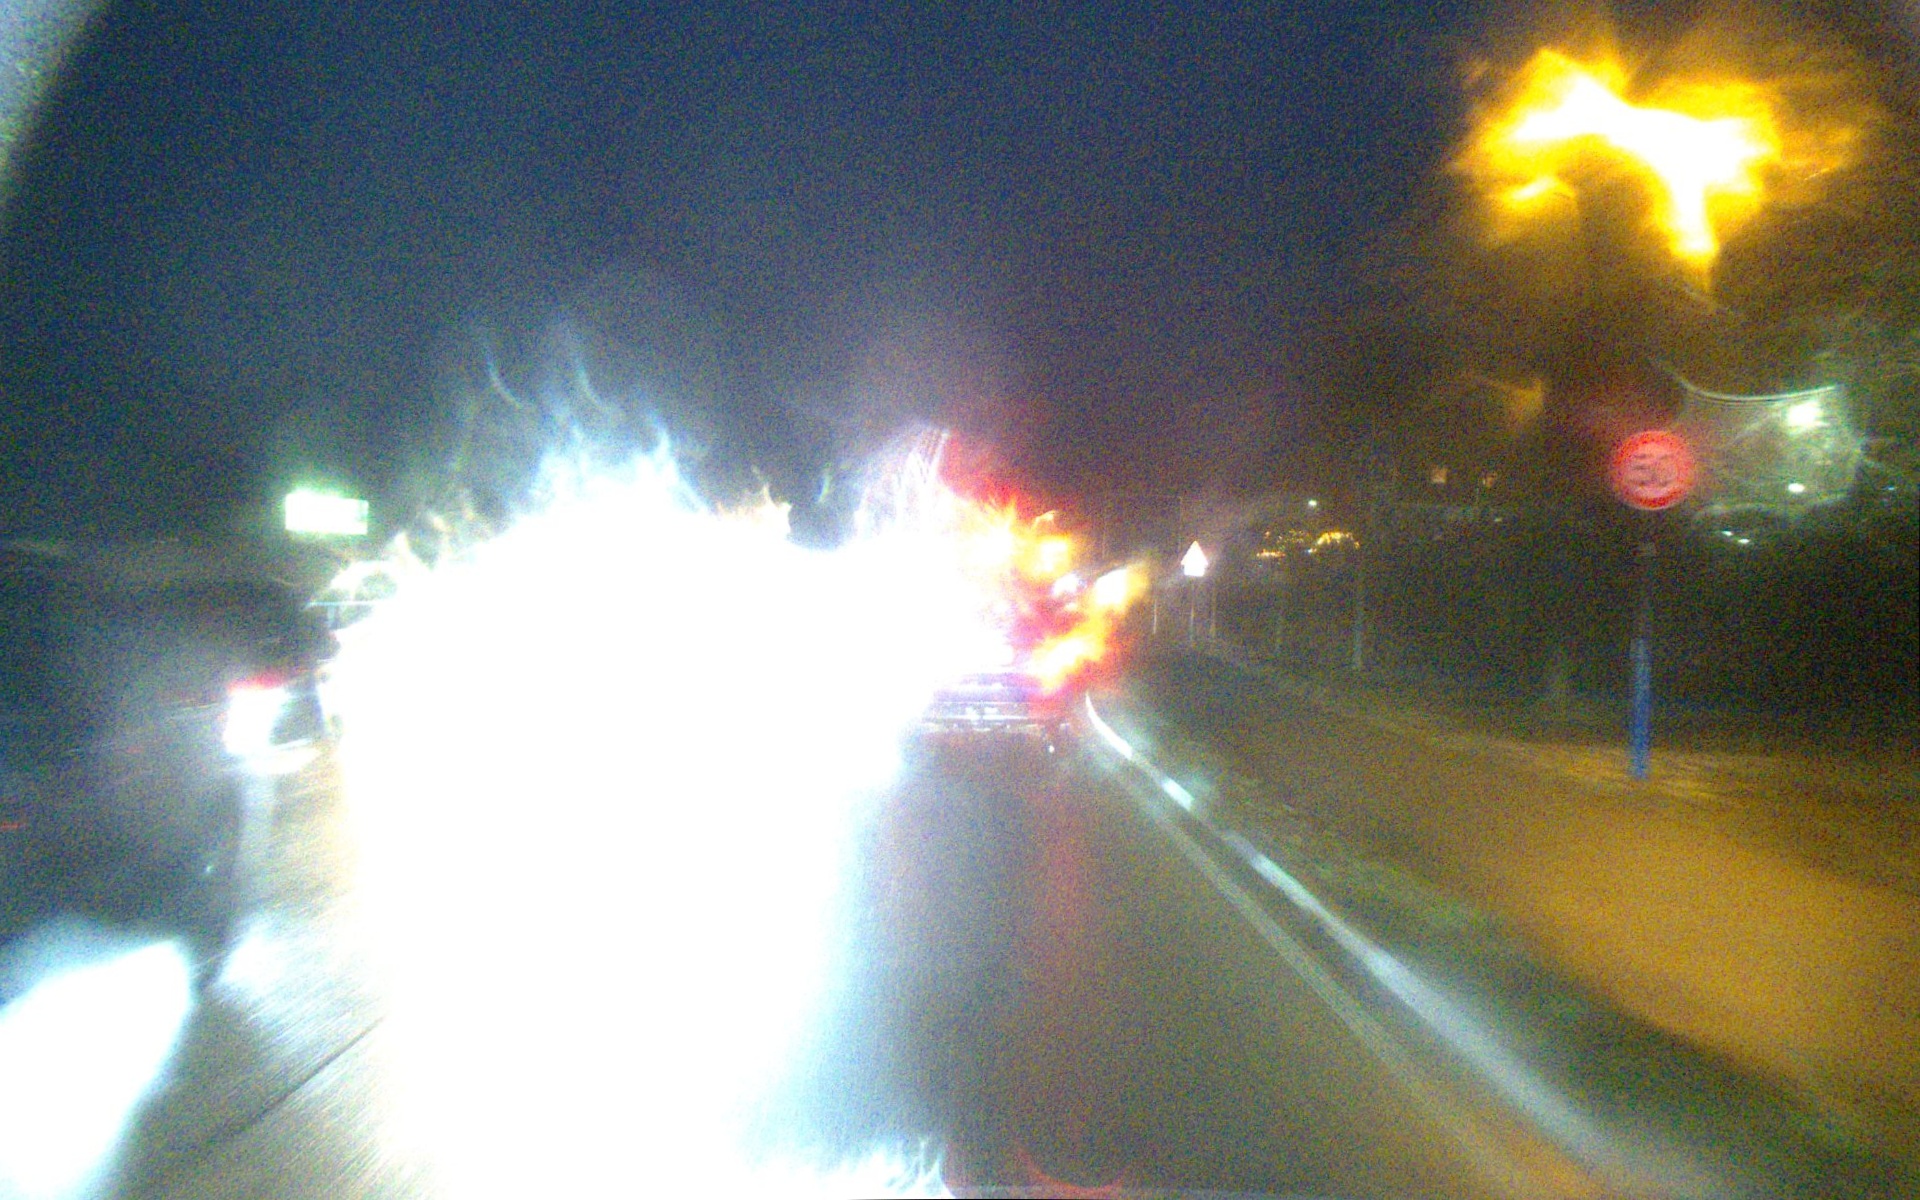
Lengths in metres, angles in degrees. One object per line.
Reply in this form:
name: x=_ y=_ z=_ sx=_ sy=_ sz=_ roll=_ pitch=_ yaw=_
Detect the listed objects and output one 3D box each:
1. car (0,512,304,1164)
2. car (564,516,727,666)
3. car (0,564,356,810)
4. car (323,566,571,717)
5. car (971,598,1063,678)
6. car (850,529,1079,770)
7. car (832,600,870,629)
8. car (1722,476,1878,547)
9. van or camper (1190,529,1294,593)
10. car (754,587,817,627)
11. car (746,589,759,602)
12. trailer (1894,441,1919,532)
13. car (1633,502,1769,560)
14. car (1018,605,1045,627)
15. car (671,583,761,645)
car: x=-3.349 y=0.586 z=4.490 sx=1.770 sy=1.658 sz=4.410 roll=1 pitch=0 yaw=-6
car: x=-6.300 y=-0.178 z=33.945 sx=2.079 sy=2.755 sz=6.240 roll=1 pitch=0 yaw=0
car: x=-6.068 y=0.532 z=12.358 sx=1.685 sy=1.534 sz=3.827 roll=1 pitch=0 yaw=0
car: x=-6.128 y=0.443 z=20.274 sx=1.685 sy=1.616 sz=4.311 roll=1 pitch=0 yaw=0
car: x=1.209 y=0.719 z=33.751 sx=1.731 sy=1.475 sz=4.220 roll=1 pitch=0 yaw=3
car: x=0.036 y=0.407 z=16.135 sx=1.902 sy=2.006 sz=4.218 roll=1 pitch=0 yaw=0
car: x=-5.942 y=0.781 z=90.661 sx=1.879 sy=1.469 sz=4.544 roll=1 pitch=0 yaw=-1
car: x=22.641 y=-2.342 z=44.738 sx=1.585 sy=1.668 sz=3.986 roll=1 pitch=0 yaw=-13
van or camper: x=13.715 y=-1.857 z=80.851 sx=2.538 sy=2.959 sz=6.331 roll=0 pitch=0 yaw=-16
car: x=-6.832 y=0.248 z=65.221 sx=2.035 sy=1.474 sz=4.991 roll=1 pitch=0 yaw=-1
car: x=-31.344 y=-0.691 z=249.553 sx=1.956 sy=1.945 sz=4.735 roll=1 pitch=0 yaw=-7
trailer: x=24.296 y=-2.719 z=37.611 sx=2.186 sy=2.108 sz=5.705 roll=0 pitch=0 yaw=-11
car: x=21.824 y=-2.003 z=48.882 sx=1.585 sy=1.498 sz=3.986 roll=1 pitch=0 yaw=-13
car: x=4.974 y=1.121 z=115.096 sx=1.628 sy=1.475 sz=4.052 roll=1 pitch=-1 yaw=5
car: x=-6.546 y=0.358 z=44.754 sx=1.840 sy=1.564 sz=3.987 roll=1 pitch=0 yaw=-1
